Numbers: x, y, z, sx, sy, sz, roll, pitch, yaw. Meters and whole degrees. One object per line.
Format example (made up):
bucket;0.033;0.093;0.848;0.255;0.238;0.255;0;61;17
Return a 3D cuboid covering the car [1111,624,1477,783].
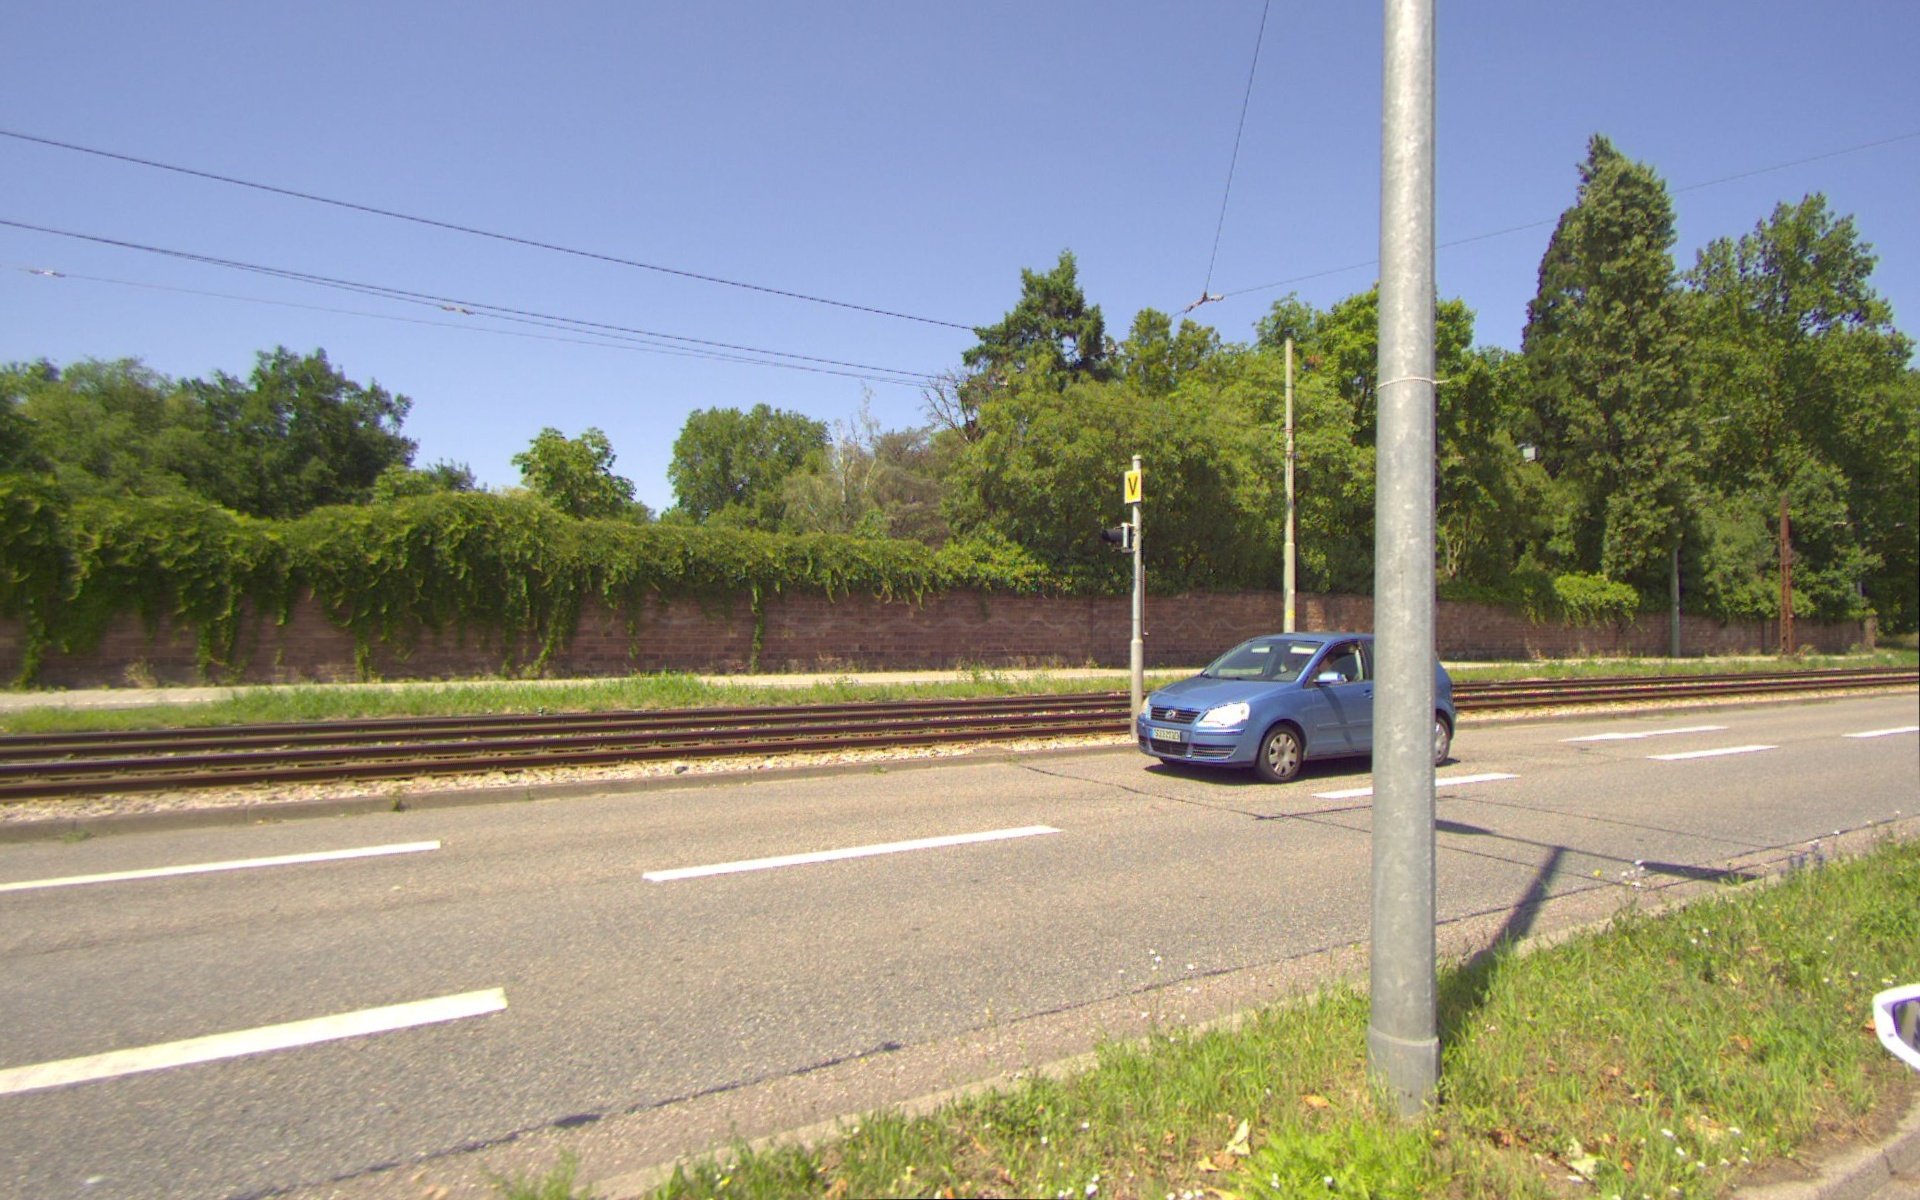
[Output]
car;3.712;1.011;10.991;3.955;1.458;1.688;1;-2;-32
